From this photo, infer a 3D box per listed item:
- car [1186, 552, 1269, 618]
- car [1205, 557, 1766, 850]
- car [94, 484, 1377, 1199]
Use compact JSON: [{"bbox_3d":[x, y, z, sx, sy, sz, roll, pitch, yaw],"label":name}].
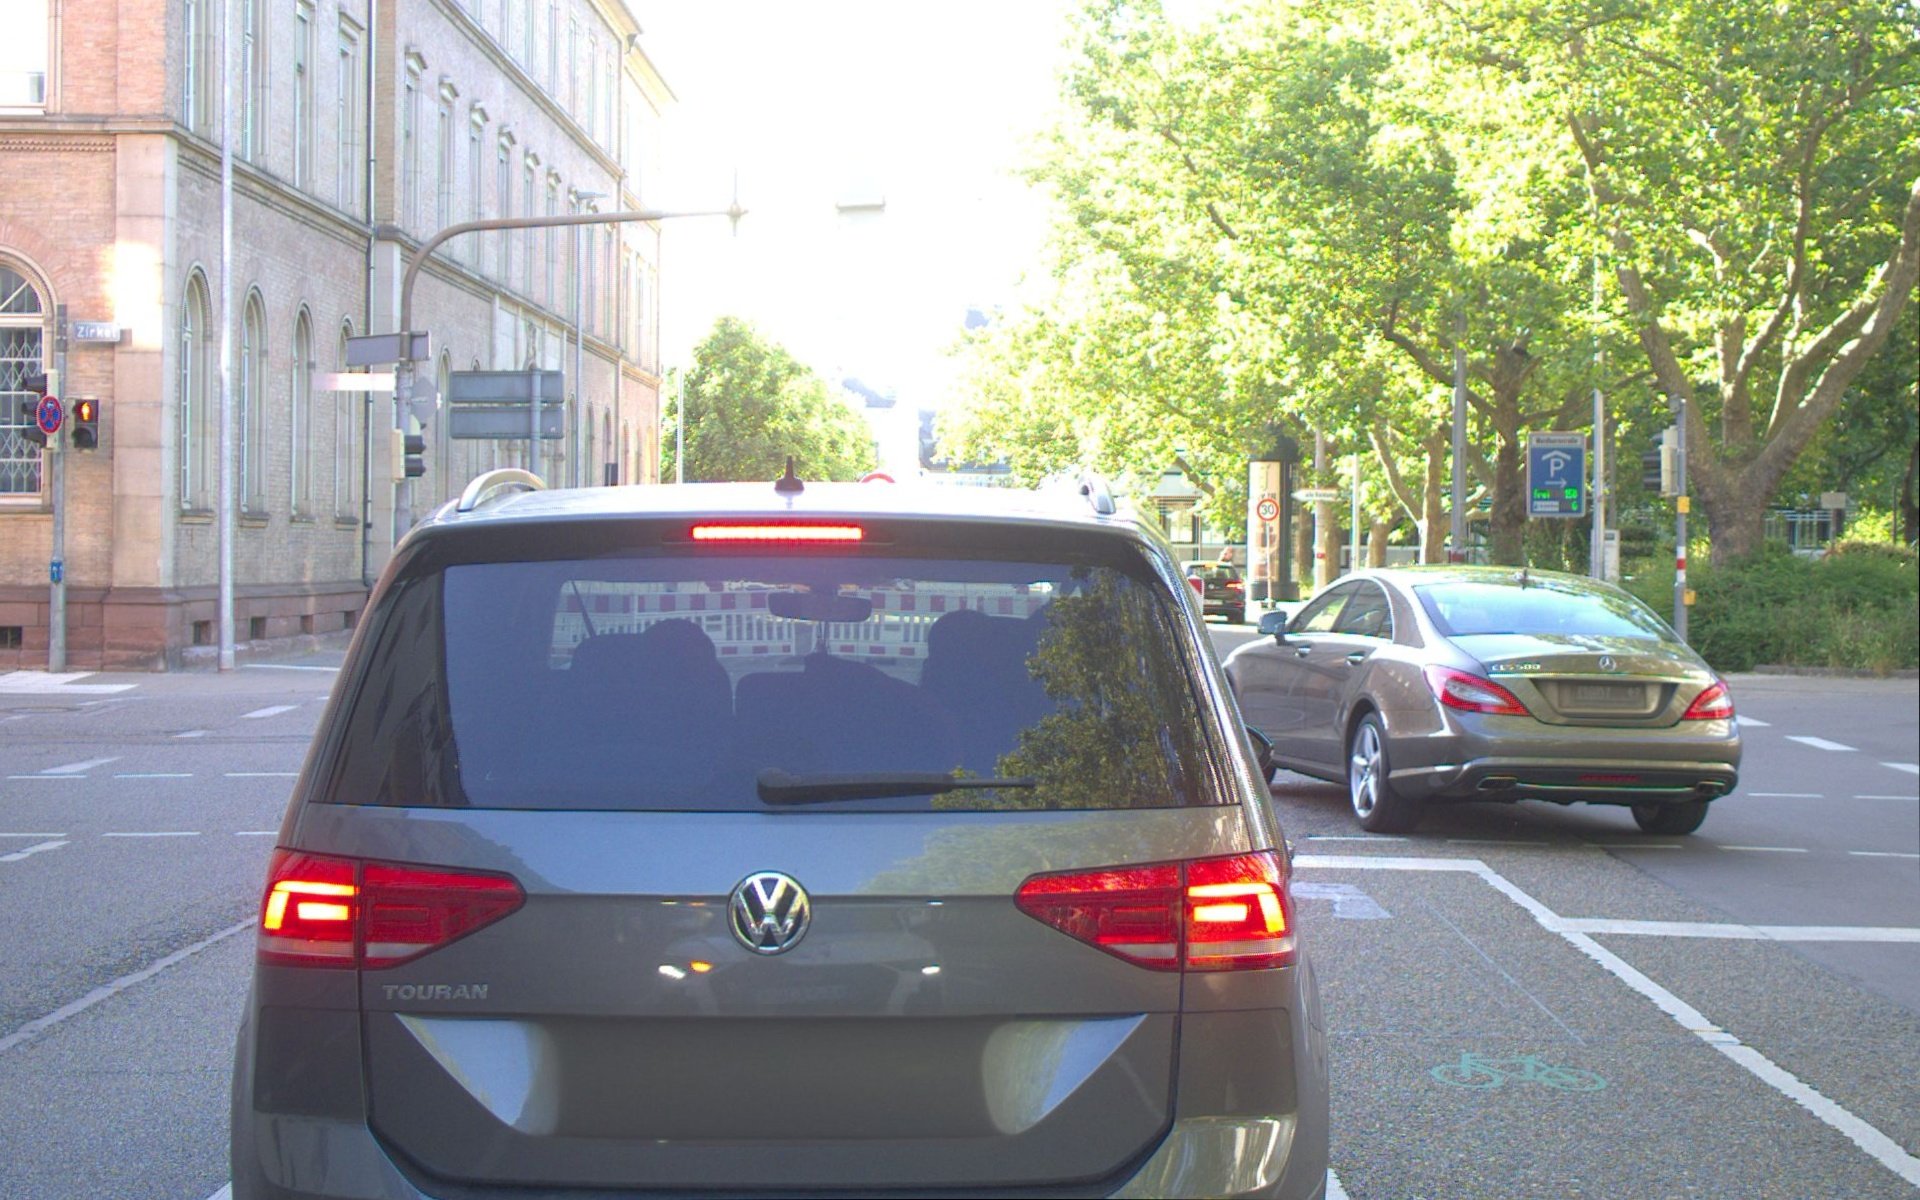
[{"bbox_3d":[6.400,-0.379,82.580,1.689,1.435,3.902,4,1,1],"label":"car"},{"bbox_3d":[2.798,0.498,19.433,1.842,1.424,4.518,1,1,-9],"label":"car"},{"bbox_3d":[-0.252,0.620,6.845,1.809,1.607,4.000,0,1,2],"label":"car"}]
